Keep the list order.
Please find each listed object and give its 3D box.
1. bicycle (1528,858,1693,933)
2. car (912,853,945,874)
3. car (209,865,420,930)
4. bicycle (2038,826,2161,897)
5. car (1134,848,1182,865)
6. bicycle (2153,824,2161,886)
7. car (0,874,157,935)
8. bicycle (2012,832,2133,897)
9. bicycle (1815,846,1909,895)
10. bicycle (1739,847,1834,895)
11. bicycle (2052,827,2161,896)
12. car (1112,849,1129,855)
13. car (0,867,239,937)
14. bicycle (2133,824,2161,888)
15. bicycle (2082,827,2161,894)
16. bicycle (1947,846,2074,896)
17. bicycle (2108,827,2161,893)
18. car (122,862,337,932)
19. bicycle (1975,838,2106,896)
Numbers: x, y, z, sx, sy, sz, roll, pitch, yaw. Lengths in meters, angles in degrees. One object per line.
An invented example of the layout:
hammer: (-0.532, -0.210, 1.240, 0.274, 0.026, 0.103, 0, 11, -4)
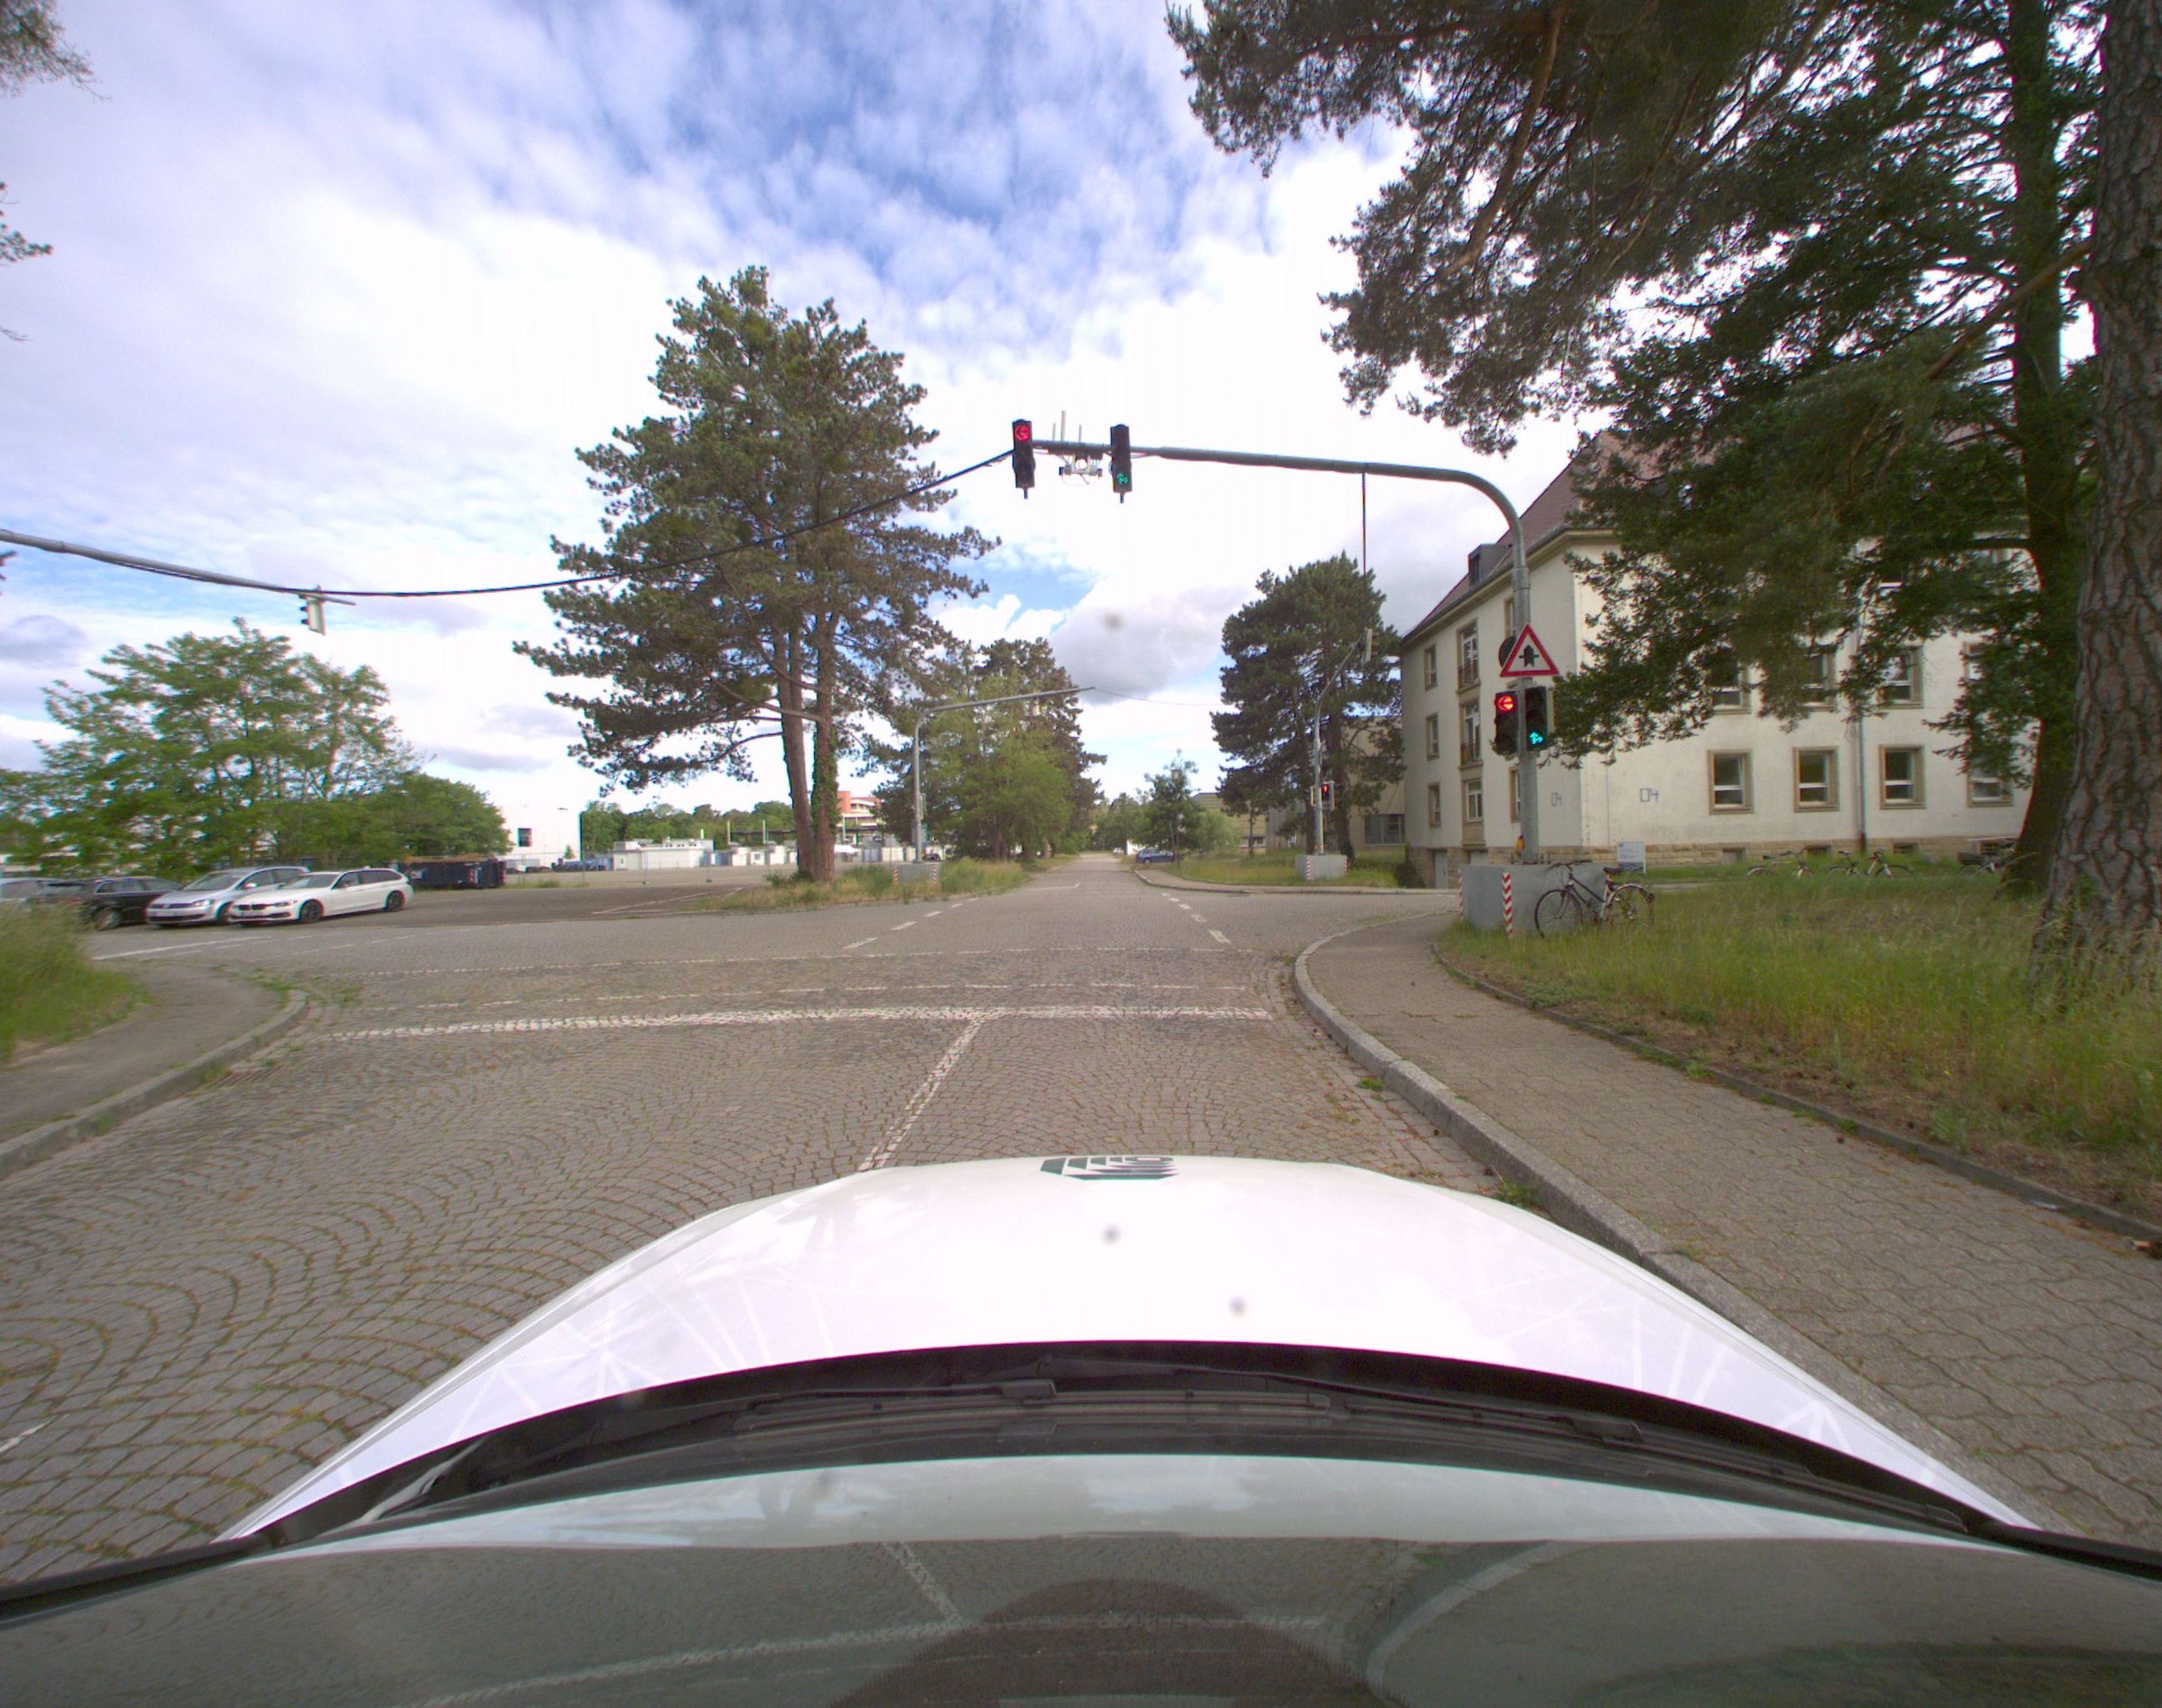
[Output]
bicycle: (6.676, 0.516, 10.317, 1.693, 0.874, 0.573, -2, 0, 1)
car: (-11.504, 0.689, 61.605, 1.607, 1.487, 4.001, -1, 0, 1)
car: (-22.577, 1.197, 24.325, 1.805, 1.441, 4.739, -2, 2, -1)
bicycle: (20.376, 0.130, 16.207, 0.435, 1.320, 2.051, -1, 0, 7)
car: (7.169, 0.233, 76.253, 4.331, 1.422, 1.999, -2, 0, -1)
bicycle: (23.120, 0.025, 16.432, 0.550, 1.320, 1.942, -1, 0, 7)
car: (-30.504, 1.455, 23.936, 1.788, 1.566, 4.323, -2, 0, -2)
bicycle: (19.878, 0.194, 16.373, 0.538, 1.215, 1.642, -1, 0, 6)
bicycle: (17.149, 0.356, 17.902, 1.531, 1.014, 0.543, -1, 0, 0)
bicycle: (15.394, 0.361, 17.787, 1.615, 0.980, 0.530, -1, 0, 0)
bicycle: (20.947, 0.124, 16.394, 0.573, 1.320, 1.979, -1, 0, 7)
car: (9.345, -0.535, 193.346, 3.980, 1.398, 1.997, -2, 0, -5)
car: (-27.825, 1.311, 23.819, 1.850, 1.501, 4.324, -2, 3, -2)
bicycle: (22.510, 0.033, 16.337, 0.552, 1.320, 1.856, -1, 0, 7)
bicycle: (21.536, 0.120, 16.408, 0.503, 1.320, 1.923, -1, 0, 7)
bicycle: (18.653, 0.318, 16.409, 0.538, 0.949, 1.905, -1, 0, 6)
bicycle: (21.984, 0.115, 16.374, 0.389, 1.320, 1.922, -1, 0, 7)
car: (-25.071, 1.190, 24.254, 1.817, 1.584, 4.324, -2, 3, -2)
bicycle: (19.304, 0.242, 16.453, 0.538, 1.101, 1.905, -1, 0, 7)
